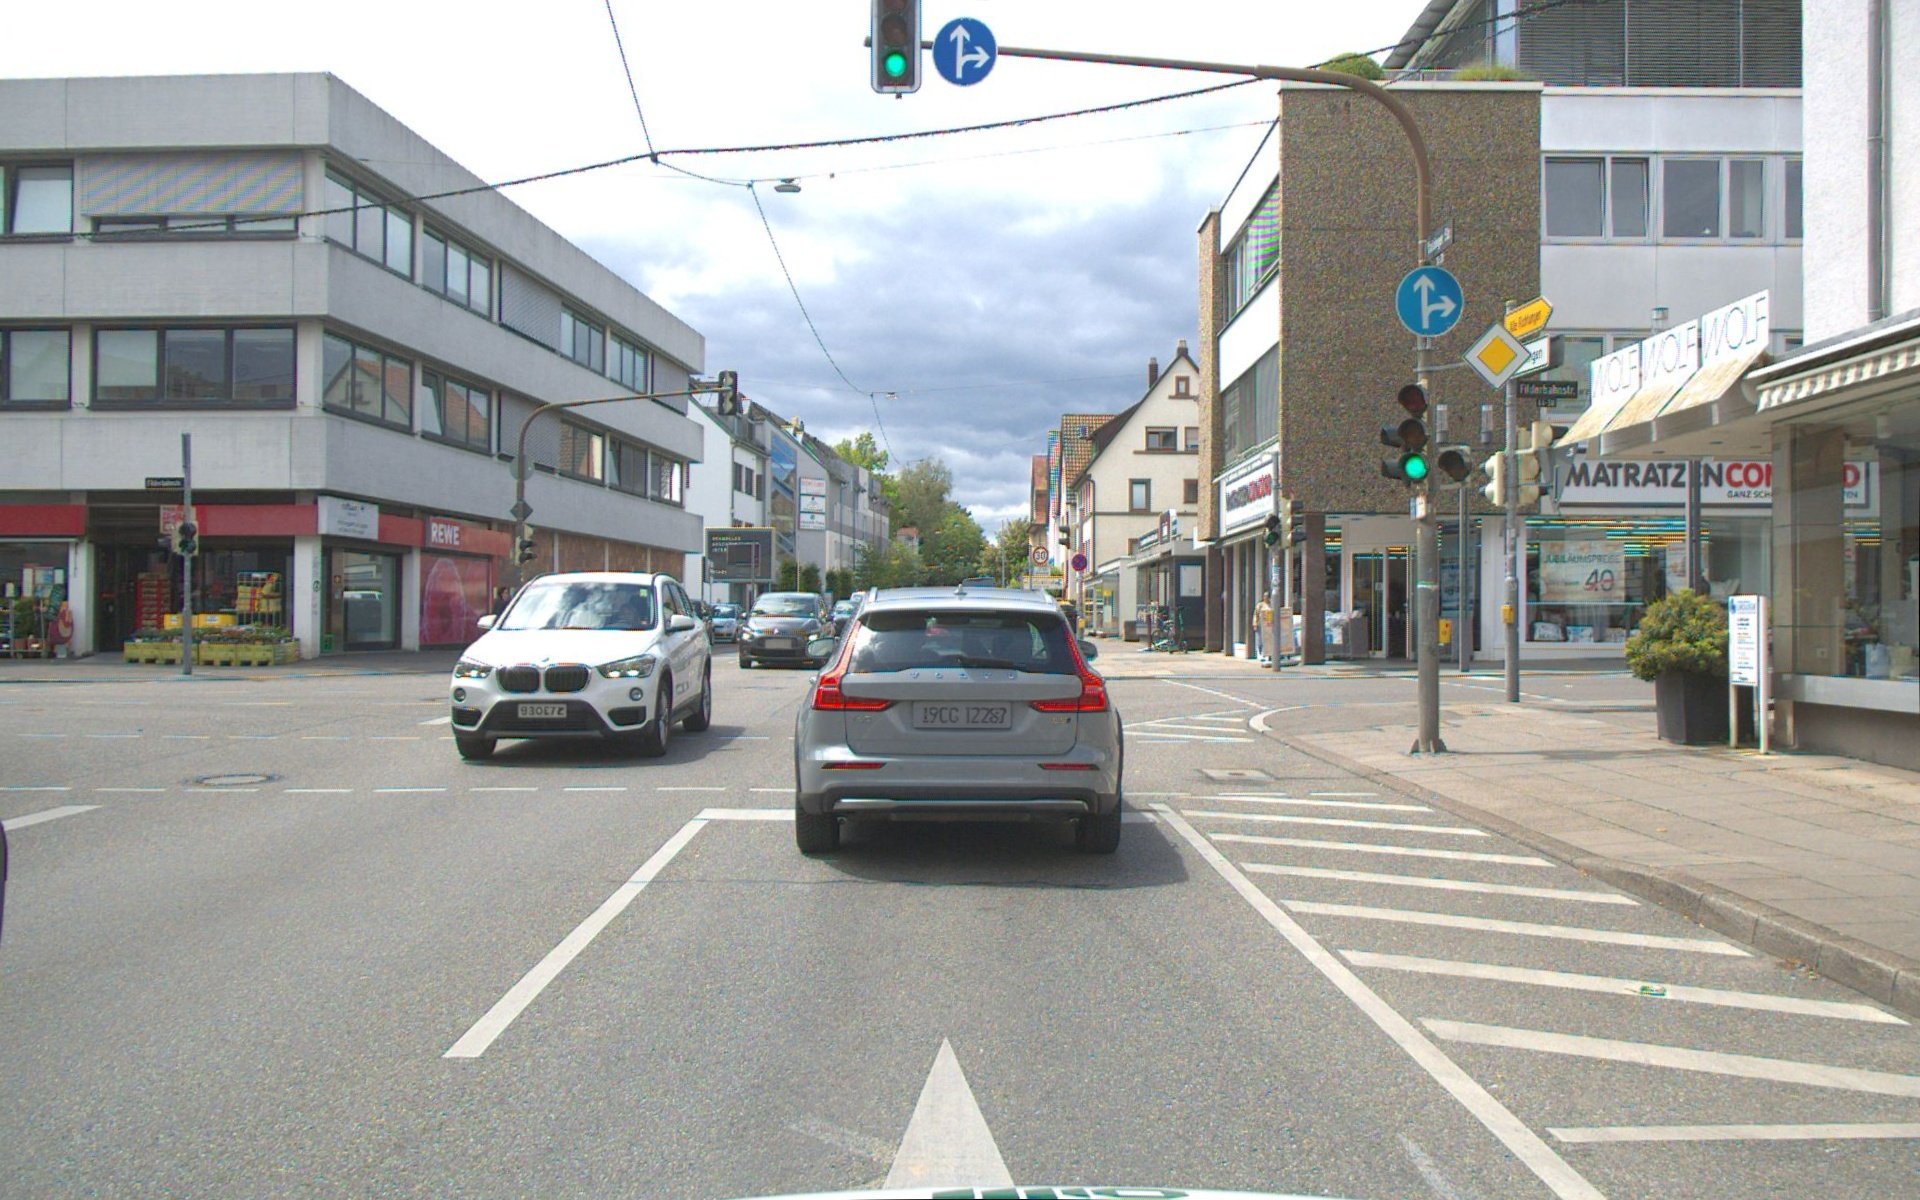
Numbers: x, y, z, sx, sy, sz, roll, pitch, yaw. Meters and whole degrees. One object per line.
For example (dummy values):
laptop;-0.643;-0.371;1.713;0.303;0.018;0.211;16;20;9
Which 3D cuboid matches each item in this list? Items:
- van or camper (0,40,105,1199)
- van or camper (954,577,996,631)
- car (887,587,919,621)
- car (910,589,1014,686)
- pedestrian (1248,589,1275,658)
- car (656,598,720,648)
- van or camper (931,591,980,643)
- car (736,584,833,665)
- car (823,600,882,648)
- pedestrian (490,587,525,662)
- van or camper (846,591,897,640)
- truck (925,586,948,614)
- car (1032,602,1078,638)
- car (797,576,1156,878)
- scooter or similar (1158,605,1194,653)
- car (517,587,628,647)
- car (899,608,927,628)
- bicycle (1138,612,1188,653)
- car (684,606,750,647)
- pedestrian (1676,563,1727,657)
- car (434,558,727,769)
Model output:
van or camper;-3.030;0.130;1.208;2.105;2.601;5.436;-1;1;-2
van or camper;0.774;0.205;85.327;2.079;2.733;4.781;0;0;1
car;-3.374;0.274;98.364;1.800;1.951;4.155;1;-1;-1
car;0.013;0.620;27.910;1.617;1.508;3.606;1;-1;-1
pedestrian;6.644;0.514;36.475;0.493;1.485;0.500;-3;-1;13
car;-9.156;0.753;55.854;1.574;1.570;2.944;2;0;1
van or camper;-0.177;0.670;62.774;1.782;1.867;3.999;0;-2;-1
car;-3.751;0.525;35.910;1.753;1.617;4.099;-1;0;-2
car;-3.562;0.796;55.467;1.648;1.523;3.967;-1;0;0
pedestrian;-10.184;0.556;37.223;0.606;1.670;0.660;0;0;1
van or camper;-3.565;0.596;67.475;1.826;1.931;4.692;0;1;0
truck;-2.460;0.032;176.450;2.229;2.937;7.079;0;0;1
car;4.187;0.896;73.499;1.676;1.490;3.998;1;-2;-2
car;0.065;0.629;10.327;1.798;1.512;4.000;0;0;-1
scooter or similar;5.968;0.806;45.731;0.336;1.275;1.235;-2;-1;-26
car;-10.335;0.452;44.394;1.747;1.490;4.088;2;-1;4
car;-3.562;1.392;125.658;1.725;1.451;4.002;-1;0;5
bicycle;5.942;0.952;48.551;0.546;1.164;2.288;-1;0;-17
car;-9.095;0.967;62.204;1.719;1.451;3.863;-1;0;2
pedestrian;14.043;0.184;31.320;0.573;1.735;0.613;-2;0;-32
car;-3.382;0.515;15.543;1.744;1.668;4.220;-1;0;0
